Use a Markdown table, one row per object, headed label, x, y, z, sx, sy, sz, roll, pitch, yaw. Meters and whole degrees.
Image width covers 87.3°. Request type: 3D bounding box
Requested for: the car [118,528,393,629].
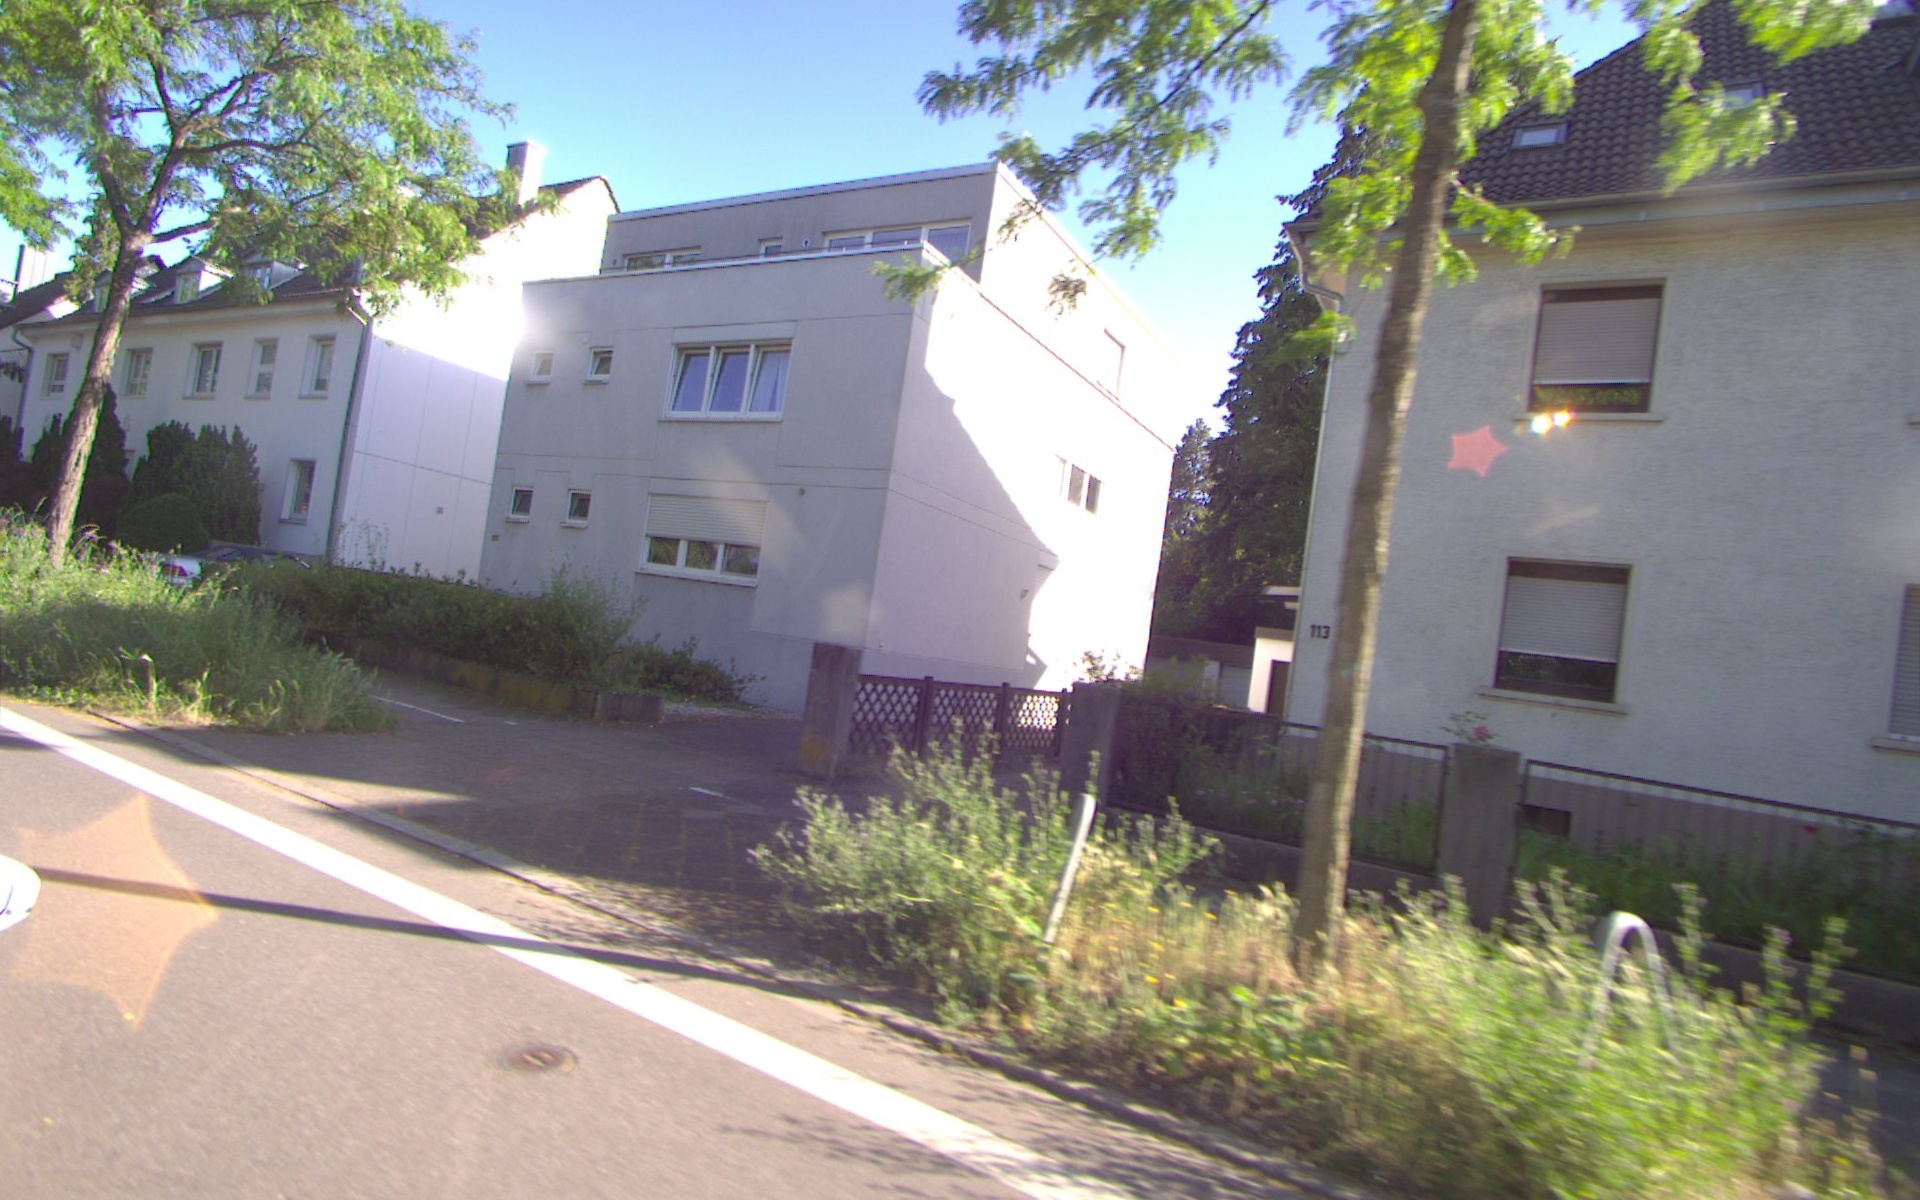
| label | x | y | z | sx | sy | sz | roll | pitch | yaw |
| --- | --- | --- | --- | --- | --- | --- | --- | --- | --- |
| car | -14.135 | -0.369 | 20.433 | 1.846 | 1.357 | 4.062 | 7 | -3 | 31 |
